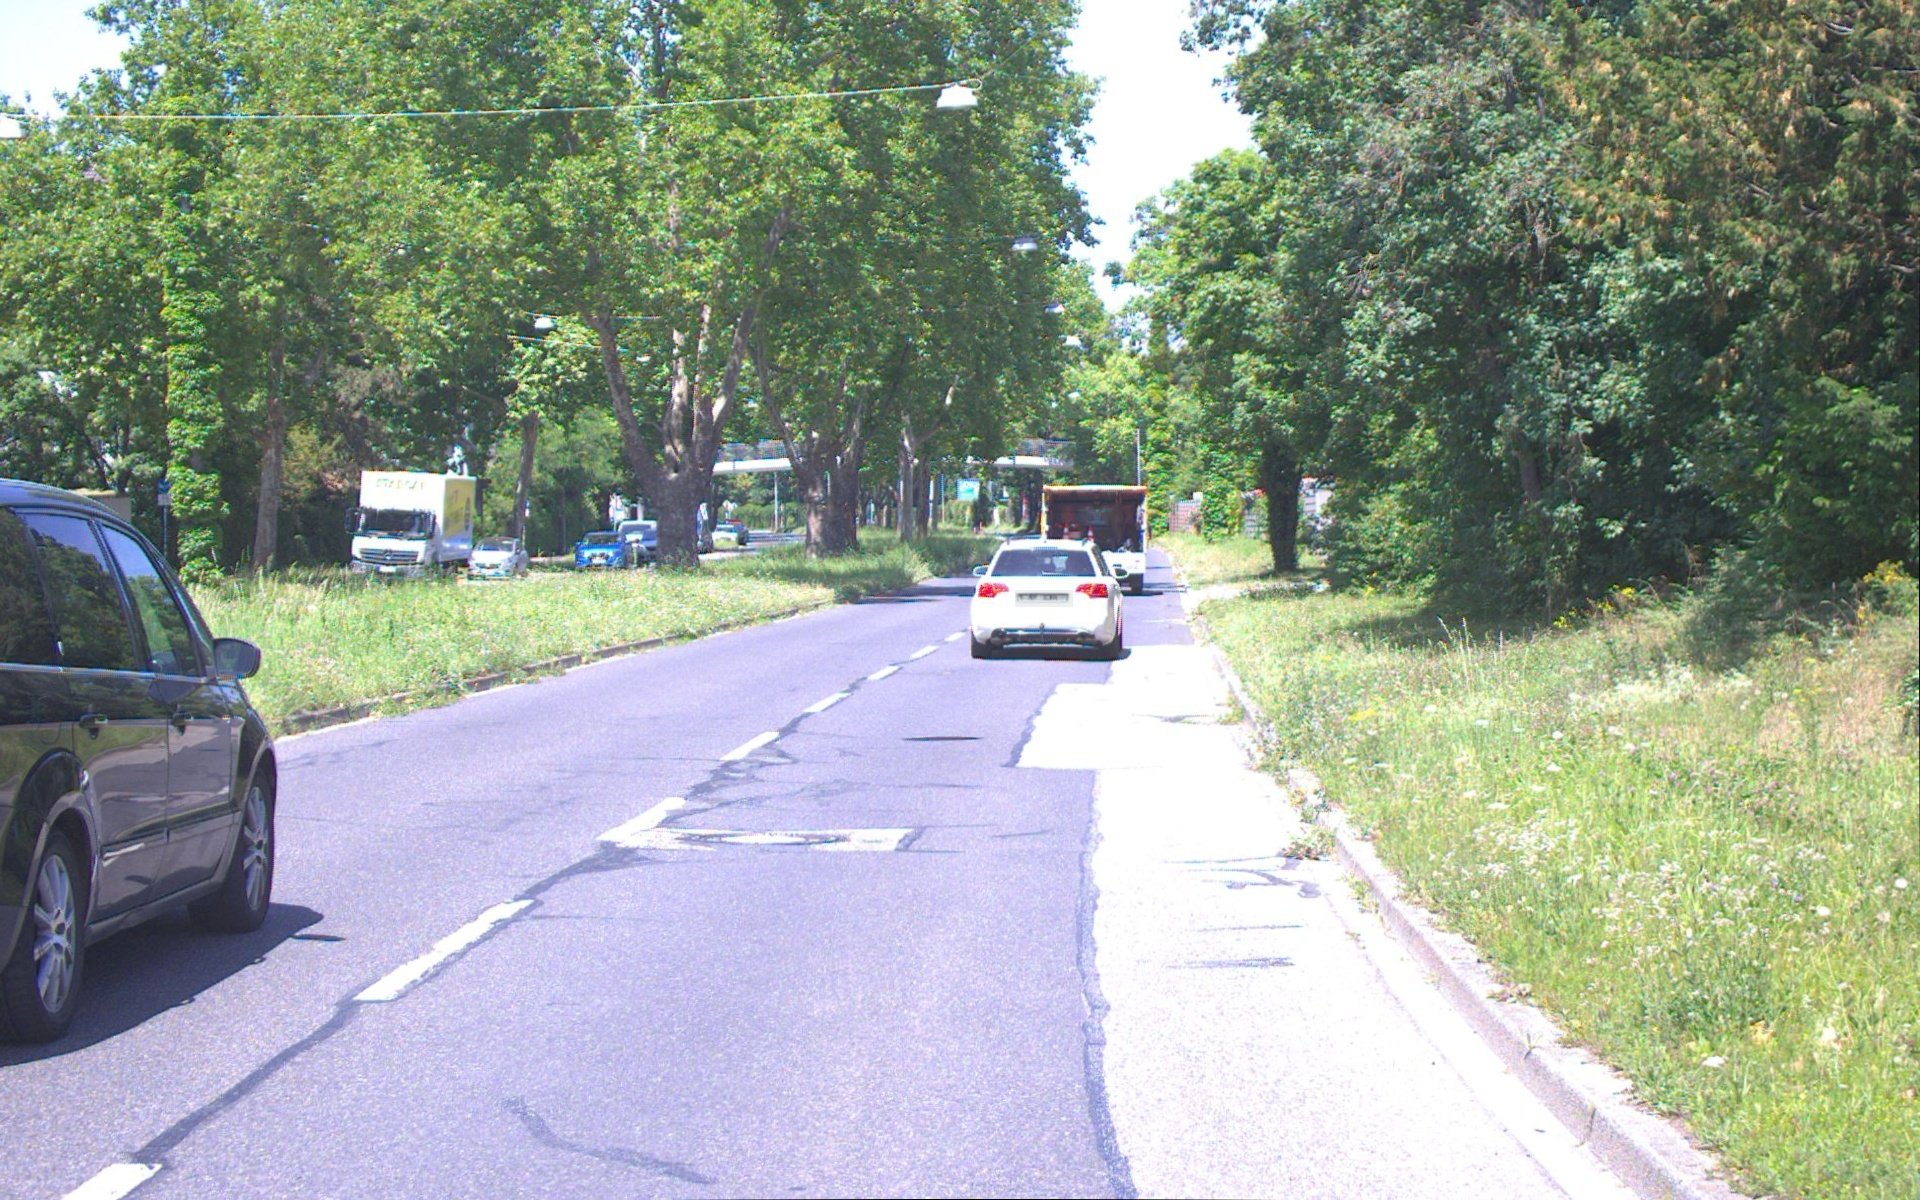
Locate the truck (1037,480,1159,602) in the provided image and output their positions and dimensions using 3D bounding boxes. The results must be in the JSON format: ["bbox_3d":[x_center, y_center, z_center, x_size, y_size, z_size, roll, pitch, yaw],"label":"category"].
[{"bbox_3d":[3.023,-1.377,76.882,2.511,2.550,7.604,1,2,1],"label":"truck"}]

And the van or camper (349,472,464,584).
[{"bbox_3d":[-16.811,-2.188,104.686,2.660,3.320,5.501,-1,1,-1],"label":"van or camper"}]

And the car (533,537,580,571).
[{"bbox_3d":[-15.986,-1.824,136.417,1.771,1.327,3.661,-1,1,-5],"label":"car"}]

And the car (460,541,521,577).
[{"bbox_3d":[-16.371,-1.436,119.986,1.914,1.206,4.336,-1,1,-5],"label":"car"}]

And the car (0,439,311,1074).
[{"bbox_3d":[-3.533,0.405,11.241,1.854,1.749,4.649,0,1,1],"label":"car"}]

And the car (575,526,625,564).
[{"bbox_3d":[-13.024,-1.995,124.517,1.771,1.327,3.661,1,1,-5],"label":"car"}]

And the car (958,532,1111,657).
[{"bbox_3d":[0.949,-0.101,41.752,1.762,1.440,3.616,0,1,3],"label":"car"}]

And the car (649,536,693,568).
[{"bbox_3d":[-12.201,-2.048,145.056,1.771,1.327,3.661,-1,1,-5],"label":"car"}]
